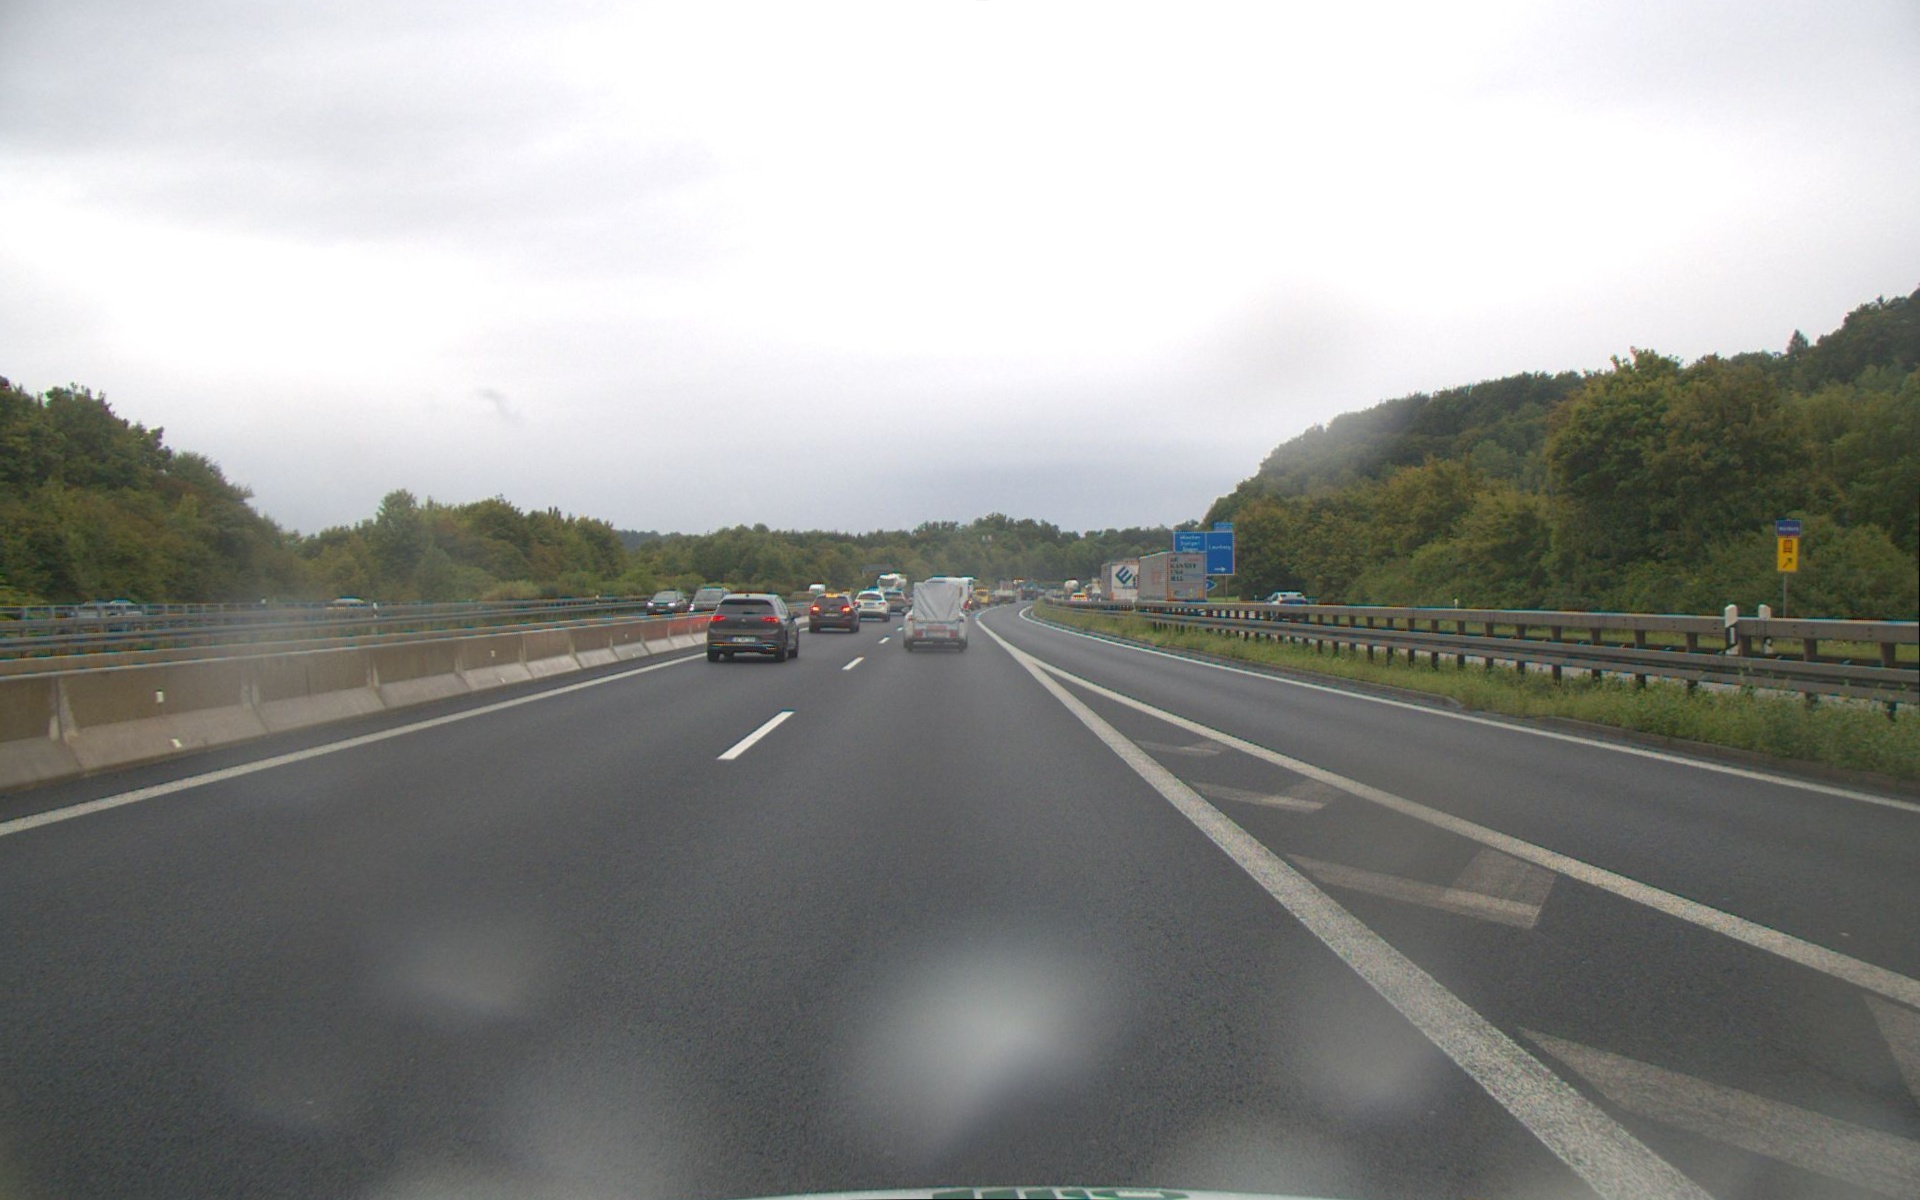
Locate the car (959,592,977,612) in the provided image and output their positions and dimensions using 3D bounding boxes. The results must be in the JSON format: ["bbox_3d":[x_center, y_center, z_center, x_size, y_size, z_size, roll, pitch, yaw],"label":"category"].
[{"bbox_3d":[0.767,0.172,159.878,1.641,1.844,4.001,1,0,2],"label":"car"}]

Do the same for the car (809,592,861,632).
[{"bbox_3d":[-4.781,0.459,63.660,1.729,1.481,3.999,1,0,-1],"label":"car"}]

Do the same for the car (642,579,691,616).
[{"bbox_3d":[-16.854,-0.125,95.165,1.953,2.049,4.981,1,0,-1],"label":"car"}]

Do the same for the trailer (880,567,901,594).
[{"bbox_3d":[-10.018,-2.811,238.076,2.582,3.780,6.492,1,0,0],"label":"trailer"}]

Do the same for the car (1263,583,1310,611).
[{"bbox_3d":[17.518,-0.144,88.820,1.642,1.481,3.999,1,0,-2],"label":"car"}]

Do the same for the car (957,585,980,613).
[{"bbox_3d":[0.683,-0.074,129.946,1.641,2.103,4.001,1,0,1],"label":"car"}]

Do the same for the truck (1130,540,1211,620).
[{"bbox_3d":[13.313,-1.193,105.903,3.150,4.748,13.028,1,0,-2],"label":"truck"}]

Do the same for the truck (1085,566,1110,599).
[{"bbox_3d":[20.642,-2.582,248.725,3.586,4.748,13.039,1,0,4],"label":"truck"}]

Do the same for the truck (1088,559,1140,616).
[{"bbox_3d":[13.391,-1.017,144.914,3.150,4.748,13.030,1,0,-1],"label":"truck"}]

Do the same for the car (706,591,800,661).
[{"bbox_3d":[-4.601,0.564,37.244,1.641,1.481,3.999,1,0,-1],"label":"car"}]

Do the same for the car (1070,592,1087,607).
[{"bbox_3d":[12.266,-0.023,171.504,1.641,1.481,4.001,1,0,2],"label":"car"}]

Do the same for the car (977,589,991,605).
[{"bbox_3d":[2.969,-0.354,205.272,1.641,1.844,4.001,1,0,2],"label":"car"}]

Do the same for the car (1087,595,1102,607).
[{"bbox_3d":[16.482,0.097,202.879,1.641,1.481,4.000,1,0,1],"label":"car"}]

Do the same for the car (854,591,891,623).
[{"bbox_3d":[-4.722,0.371,89.646,1.739,1.669,4.043,1,0,0],"label":"car"}]

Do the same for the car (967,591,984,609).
[{"bbox_3d":[1.680,0.027,176.911,1.641,1.844,4.001,1,0,2],"label":"car"}]

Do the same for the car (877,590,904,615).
[{"bbox_3d":[-4.804,0.177,115.115,1.739,1.669,4.042,1,0,-1],"label":"car"}]

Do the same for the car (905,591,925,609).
[{"bbox_3d":[-4.316,0.033,158.030,1.739,1.669,4.043,1,0,0],"label":"car"}]

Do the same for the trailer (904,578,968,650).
[{"bbox_3d":[-0.613,0.374,44.921,1.641,1.844,4.000,1,0,0],"label":"trailer"}]

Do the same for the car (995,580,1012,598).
[{"bbox_3d":[6.465,-1.648,245.073,2.463,2.620,5.313,1,0,2],"label":"car"}]

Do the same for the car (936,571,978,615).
[{"bbox_3d":[-0.141,-0.401,103.389,2.455,2.630,5.701,1,0,2],"label":"car"}]

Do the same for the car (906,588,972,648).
[{"bbox_3d":[-0.572,0.502,48.624,1.781,1.644,4.778,1,0,1],"label":"car"}]

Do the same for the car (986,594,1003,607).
[{"bbox_3d":[4.595,0.059,219.043,1.994,1.712,4.002,1,0,4],"label":"car"}]
